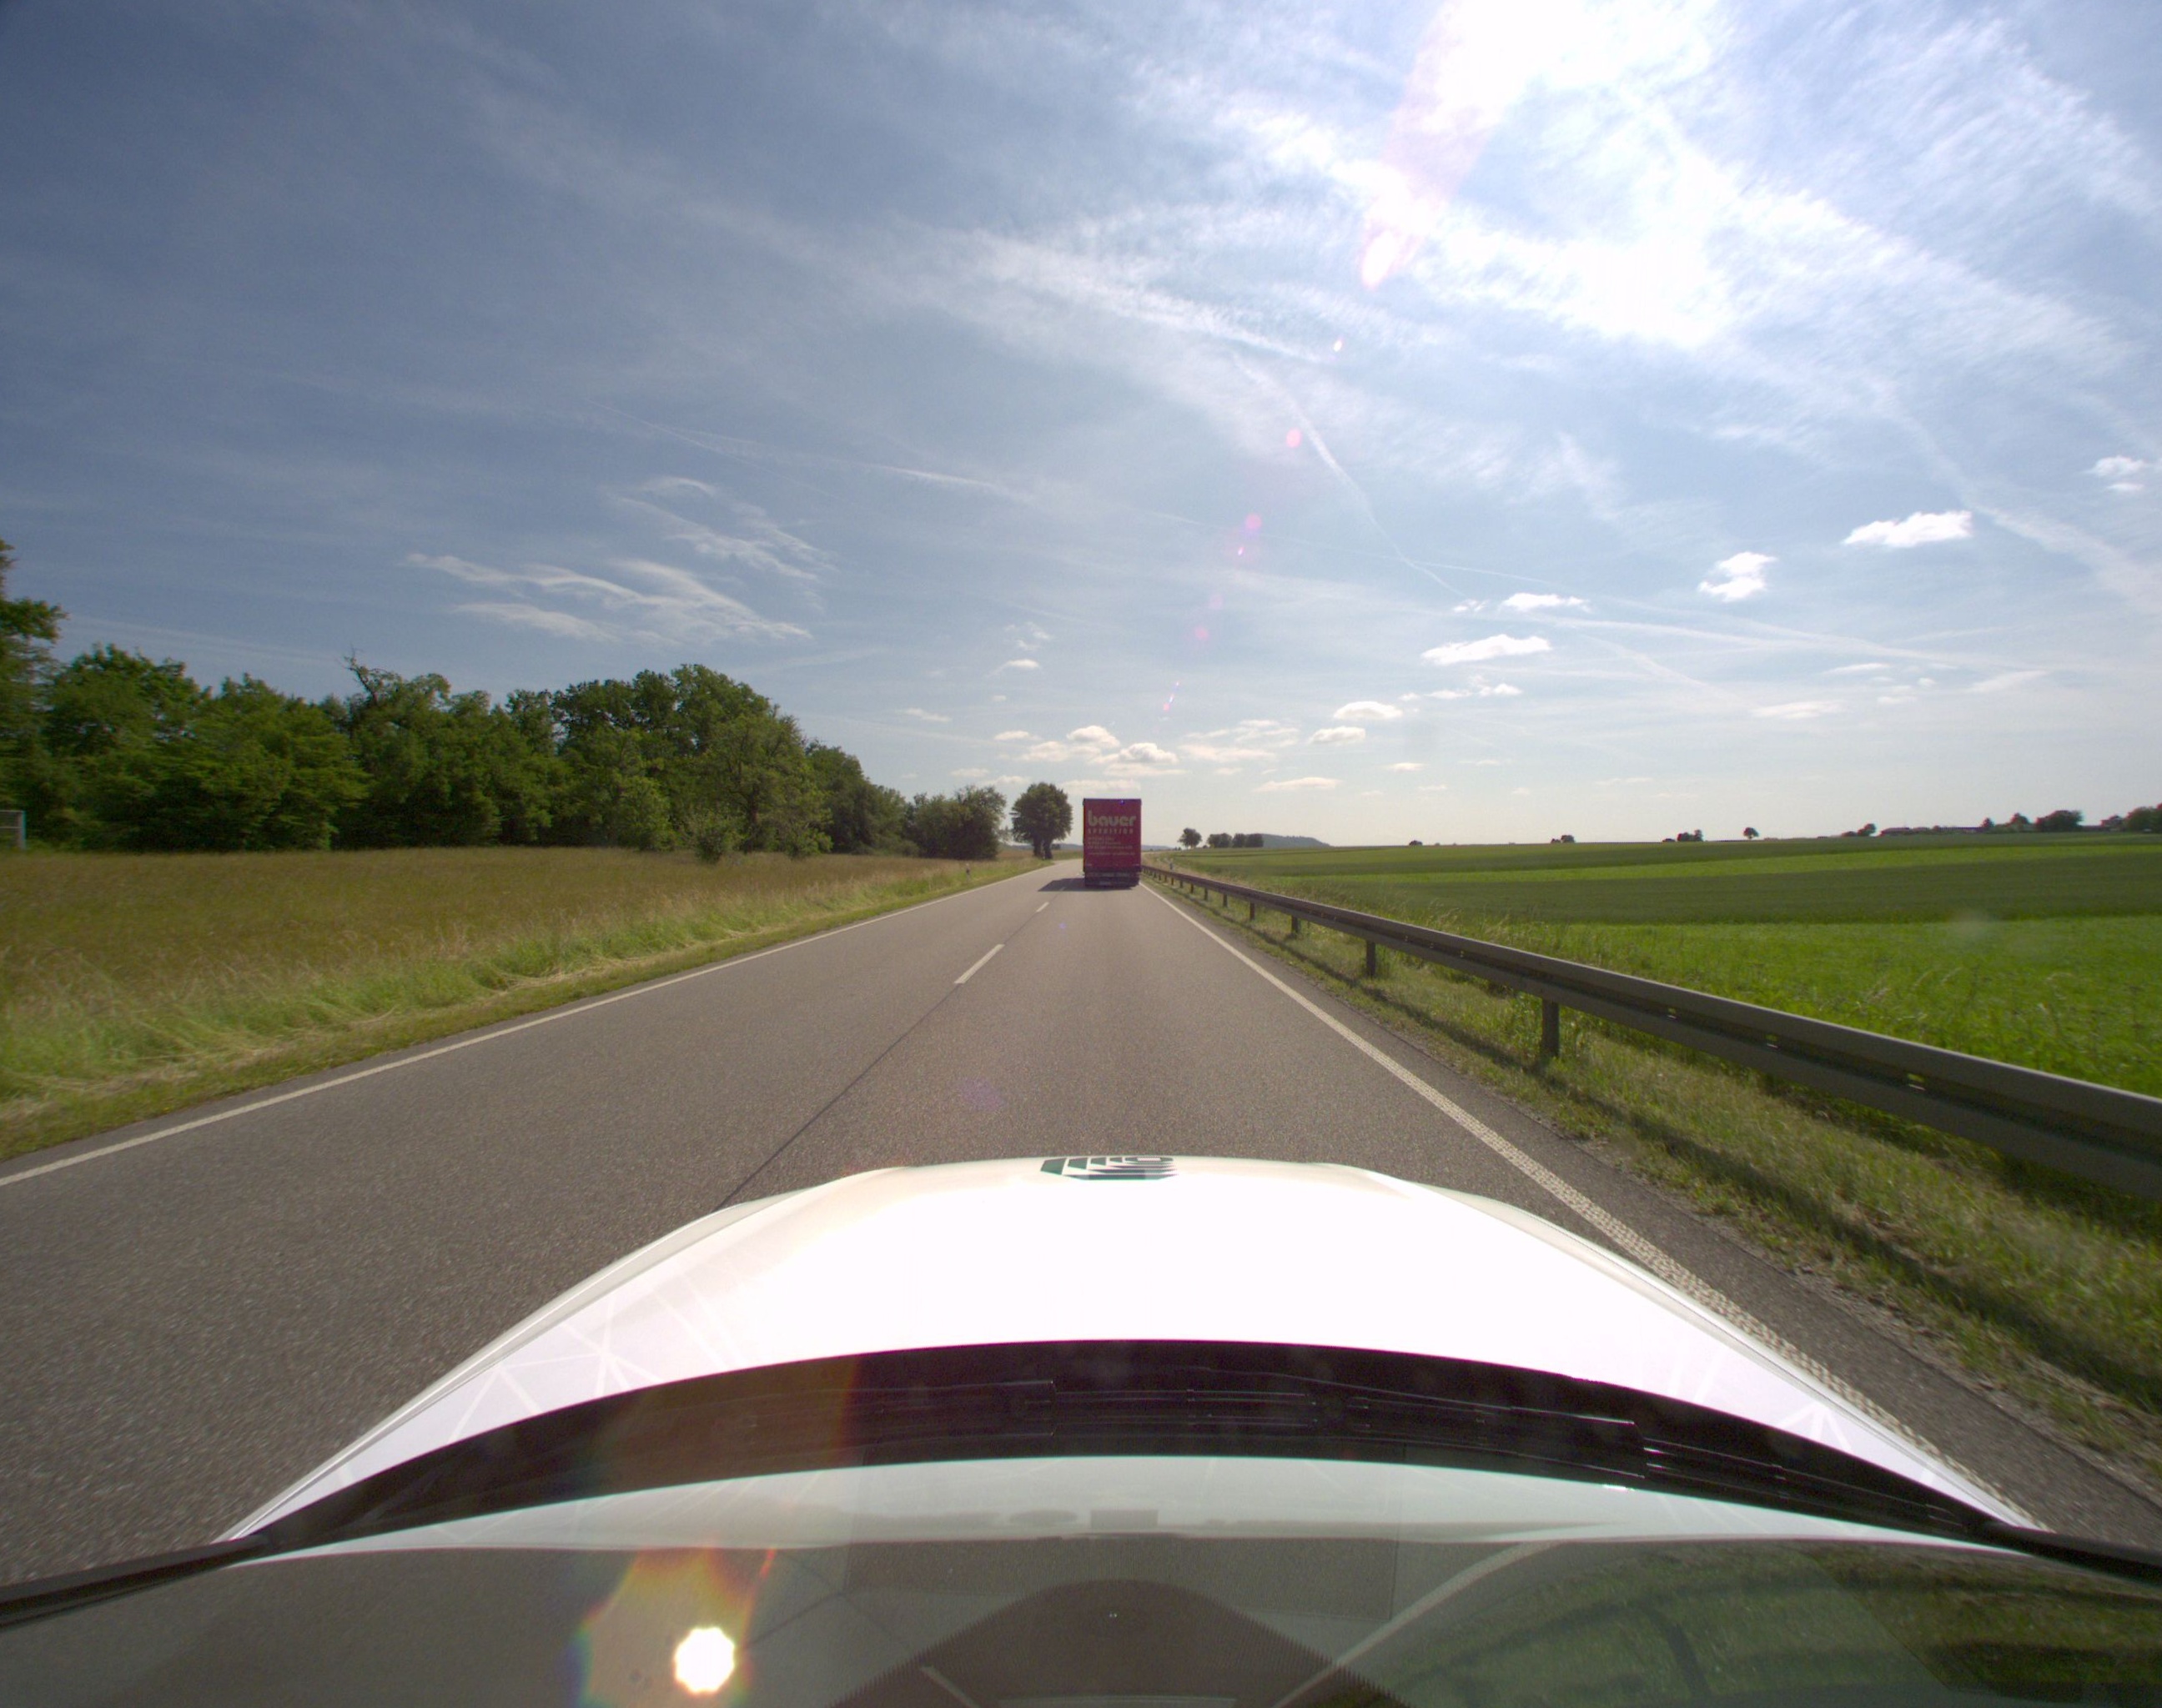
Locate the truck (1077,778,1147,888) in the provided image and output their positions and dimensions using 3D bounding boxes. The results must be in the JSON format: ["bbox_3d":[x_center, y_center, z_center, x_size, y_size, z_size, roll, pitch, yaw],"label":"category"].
[{"bbox_3d":[1.396,-0.846,39.648,2.965,4.713,9.366,0,-1,1],"label":"truck"}]
